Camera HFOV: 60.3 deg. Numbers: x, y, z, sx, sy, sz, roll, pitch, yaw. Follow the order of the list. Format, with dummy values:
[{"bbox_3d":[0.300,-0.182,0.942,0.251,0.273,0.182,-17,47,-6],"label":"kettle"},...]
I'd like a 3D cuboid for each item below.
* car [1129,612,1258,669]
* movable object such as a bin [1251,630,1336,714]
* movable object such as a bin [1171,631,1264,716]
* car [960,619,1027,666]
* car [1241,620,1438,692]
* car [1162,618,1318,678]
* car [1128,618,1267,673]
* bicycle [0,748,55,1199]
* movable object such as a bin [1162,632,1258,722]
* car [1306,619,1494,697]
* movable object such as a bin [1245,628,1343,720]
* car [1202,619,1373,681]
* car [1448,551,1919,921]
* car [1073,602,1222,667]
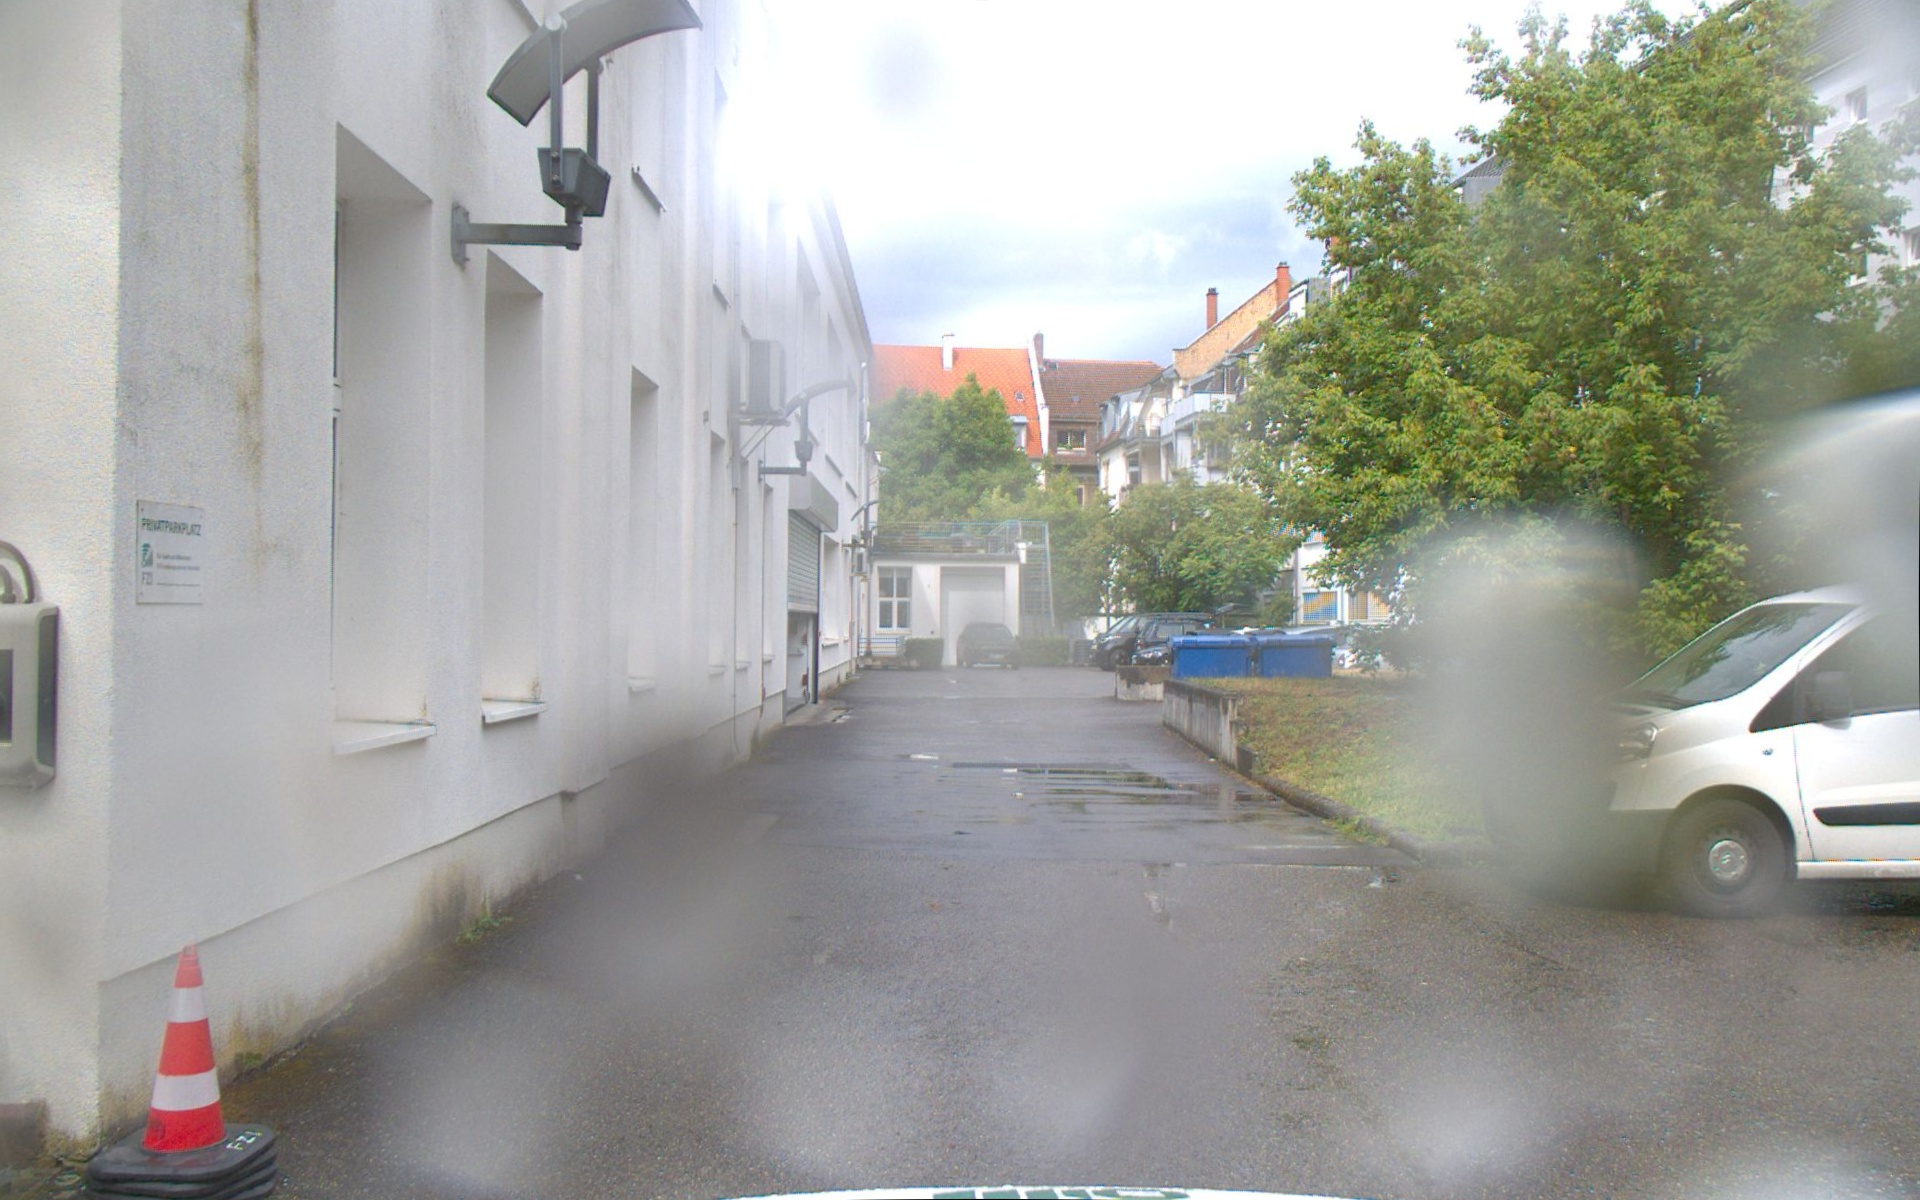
[{"bbox_3d":[7.494,1.293,53.240,3.831,1.717,1.816,-1,-1,-3],"label":"car"},{"bbox_3d":[5.478,1.167,27.216,1.161,1.327,1.106,-1,-1,0],"label":"movable object such as a bin"},{"bbox_3d":[4.202,1.189,27.066,1.343,1.327,1.083,-1,-1,1],"label":"movable object such as a bin"},{"bbox_3d":[1.081,1.403,55.437,1.940,1.469,3.997,0,0,-3],"label":"car"},{"bbox_3d":[8.434,1.221,36.920,3.909,1.471,1.805,-1,-1,-4],"label":"car"},{"bbox_3d":[7.672,1.308,45.438,3.836,1.540,1.816,-1,-1,-9],"label":"car"},{"bbox_3d":[7.153,1.356,49.951,3.834,1.540,1.749,-1,-1,-6],"label":"car"},{"bbox_3d":[-2.646,0.943,3.534,0.603,1.135,1.520,-1,-1,-1],"label":"bicycle"},{"bbox_3d":[3.820,1.166,25.392,1.310,1.314,1.095,-1,0,1],"label":"movable object such as a bin"},{"bbox_3d":[8.998,1.173,33.974,3.348,1.452,1.686,-2,-1,-4],"label":"car"},{"bbox_3d":[5.125,1.118,25.475,1.266,1.360,1.197,-1,-1,1],"label":"movable object such as a bin"},{"bbox_3d":[8.308,1.261,42.092,3.910,1.484,1.770,-1,-1,-7],"label":"car"},{"bbox_3d":[5.636,0.779,9.976,4.773,1.959,2.099,1,-1,1],"label":"car"},{"bbox_3d":[6.325,1.143,55.963,4.553,2.038,2.219,-1,0,-12],"label":"car"}]
